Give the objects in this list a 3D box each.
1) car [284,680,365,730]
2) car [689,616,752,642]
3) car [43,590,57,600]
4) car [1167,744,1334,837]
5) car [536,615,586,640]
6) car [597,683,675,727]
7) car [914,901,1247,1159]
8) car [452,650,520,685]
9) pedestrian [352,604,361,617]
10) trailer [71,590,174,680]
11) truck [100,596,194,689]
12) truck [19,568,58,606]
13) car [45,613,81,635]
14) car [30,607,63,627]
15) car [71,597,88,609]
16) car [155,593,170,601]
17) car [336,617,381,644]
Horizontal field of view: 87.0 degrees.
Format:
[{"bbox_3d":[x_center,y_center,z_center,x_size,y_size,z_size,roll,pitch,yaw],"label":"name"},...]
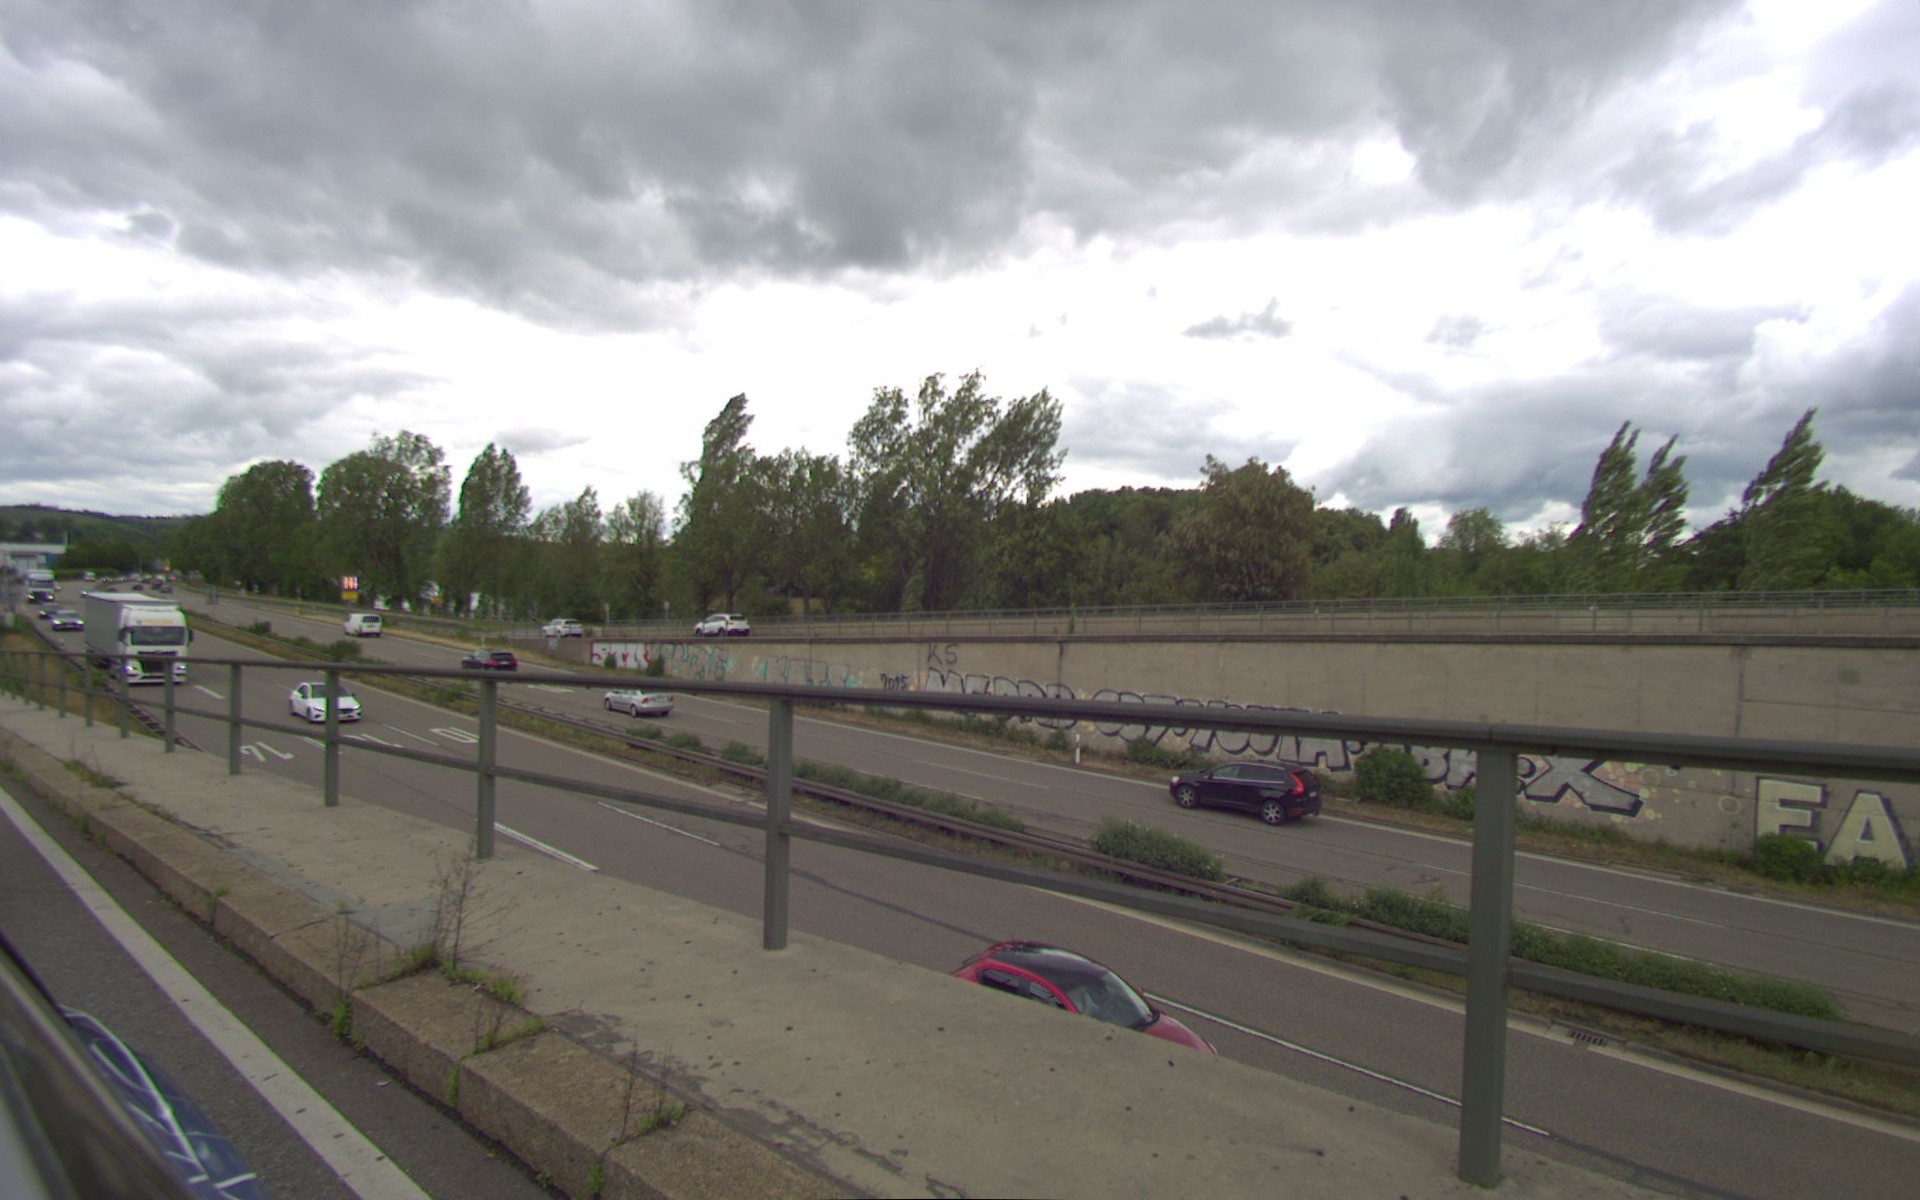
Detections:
[{"bbox_3d":[-26.222,4.285,41.709,4.279,1.429,1.894,3,2,44],"label":"car"},{"bbox_3d":[-15.150,1.816,63.985,4.346,1.588,1.812,-2,-1,43],"label":"car"},{"bbox_3d":[-166.644,-0.944,185.407,1.832,1.619,4.171,3,-1,-42],"label":"car"},{"bbox_3d":[8.644,5.620,30.366,4.408,1.855,1.911,2,1,41],"label":"car"},{"bbox_3d":[-31.352,2.180,79.496,4.211,1.884,1.973,-2,-1,41],"label":"car"},{"bbox_3d":[-15.027,4.800,46.850,4.089,1.539,1.709,2,0,45],"label":"car"},{"bbox_3d":[1.457,5.450,13.439,4.167,1.451,1.732,4,3,44],"label":"car"},{"bbox_3d":[-28.369,3.994,60.503,4.550,1.751,1.896,2,0,40],"label":"car"},{"bbox_3d":[-83.062,1.497,139.264,1.078,1.718,0.820,3,2,43],"label":"pedestrian"},{"bbox_3d":[-47.617,1.798,57.329,13.152,4.283,2.721,2,0,43],"label":"trailer"},{"bbox_3d":[-41.779,2.066,51.923,6.699,4.283,2.721,2,0,43],"label":"truck"},{"bbox_3d":[-117.622,-1.687,129.124,11.131,4.559,3.136,3,1,45],"label":"truck"},{"bbox_3d":[-73.078,1.930,82.411,4.166,1.619,1.834,2,1,43],"label":"car"},{"bbox_3d":[-86.833,1.581,96.217,4.166,1.619,1.834,2,-3,43],"label":"car"},{"bbox_3d":[-135.737,0.501,156.065,1.832,1.619,4.171,4,-2,-42],"label":"car"},{"bbox_3d":[-156.972,-0.543,199.181,1.691,1.386,4.113,3,0,-45],"label":"car"},{"bbox_3d":[-52.868,2.655,88.853,5.177,2.082,1.972,2,1,42],"label":"car"}]
